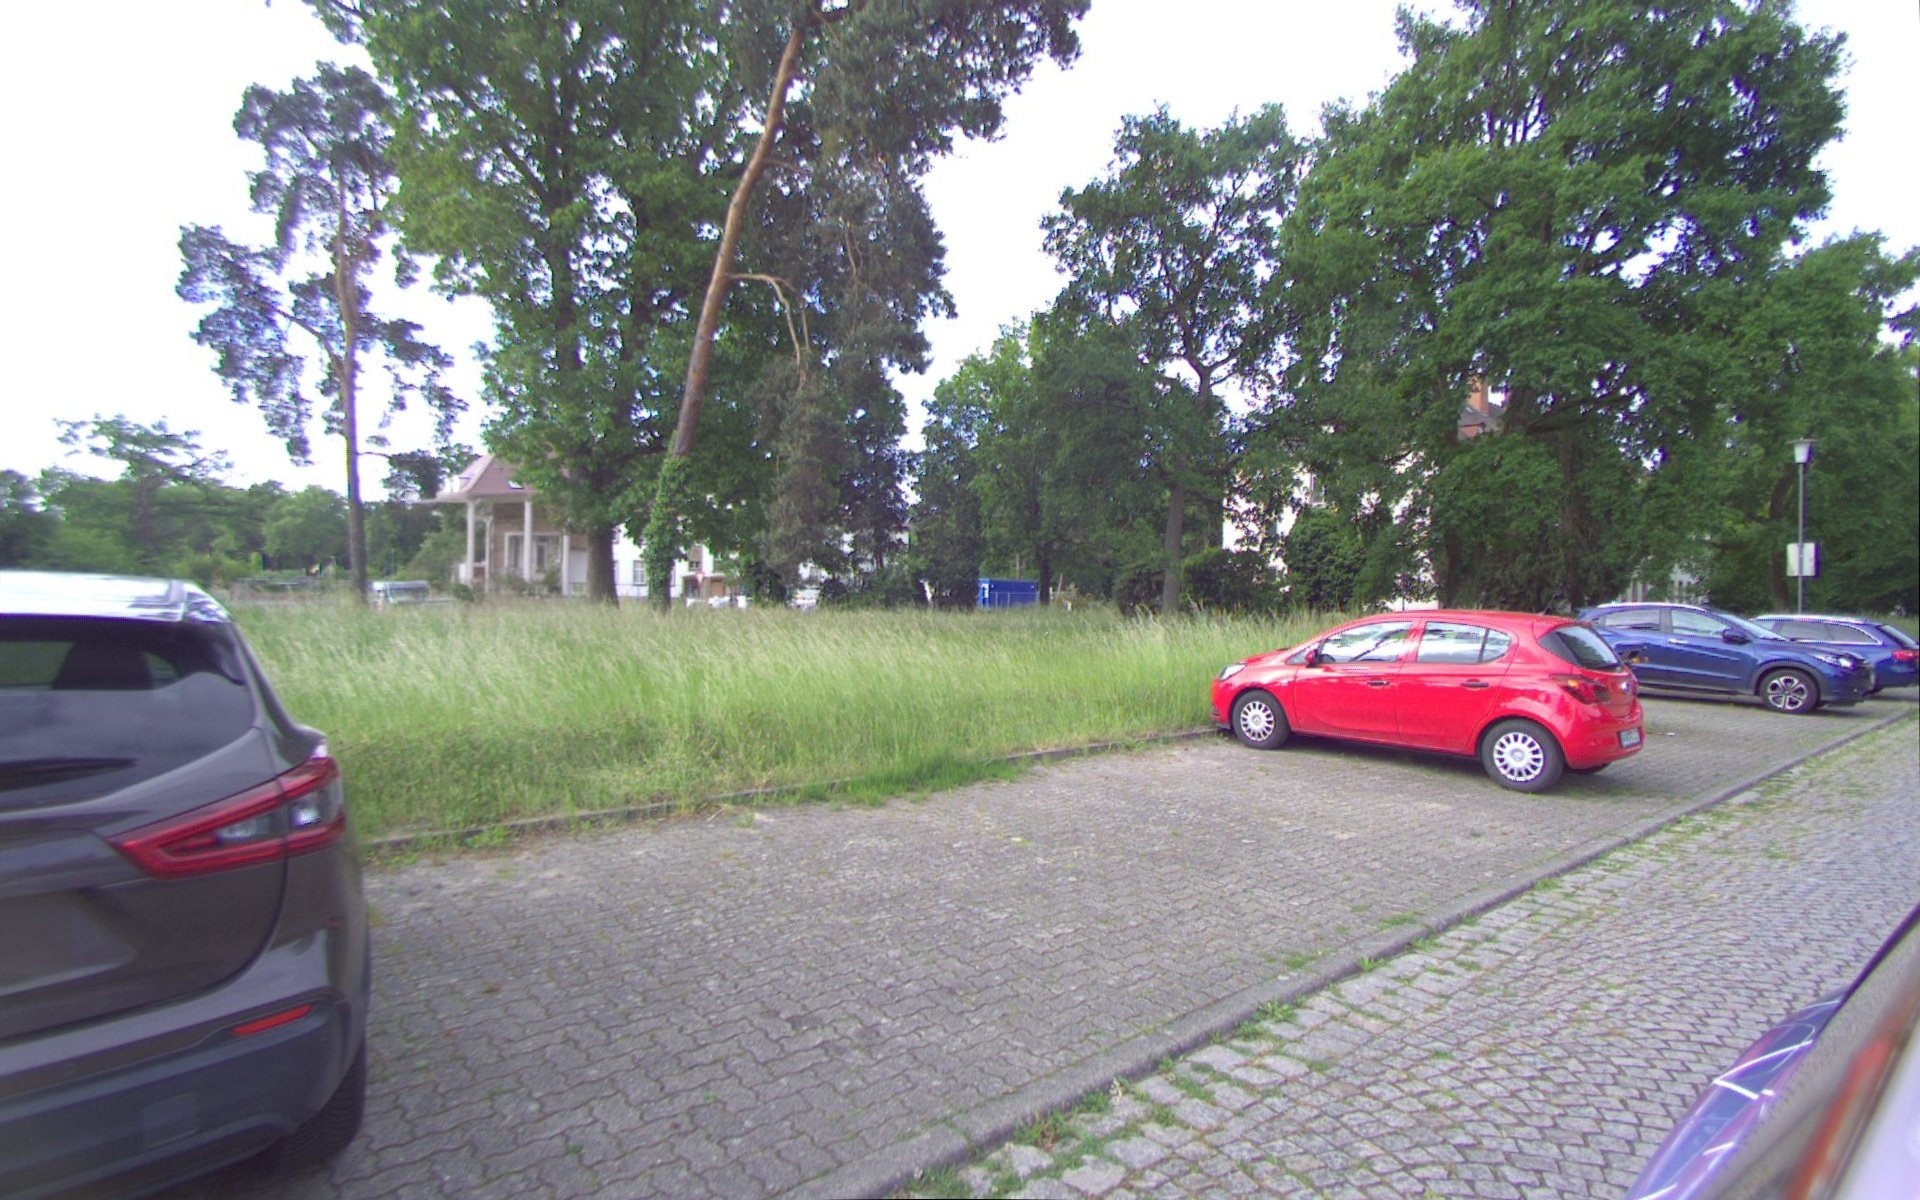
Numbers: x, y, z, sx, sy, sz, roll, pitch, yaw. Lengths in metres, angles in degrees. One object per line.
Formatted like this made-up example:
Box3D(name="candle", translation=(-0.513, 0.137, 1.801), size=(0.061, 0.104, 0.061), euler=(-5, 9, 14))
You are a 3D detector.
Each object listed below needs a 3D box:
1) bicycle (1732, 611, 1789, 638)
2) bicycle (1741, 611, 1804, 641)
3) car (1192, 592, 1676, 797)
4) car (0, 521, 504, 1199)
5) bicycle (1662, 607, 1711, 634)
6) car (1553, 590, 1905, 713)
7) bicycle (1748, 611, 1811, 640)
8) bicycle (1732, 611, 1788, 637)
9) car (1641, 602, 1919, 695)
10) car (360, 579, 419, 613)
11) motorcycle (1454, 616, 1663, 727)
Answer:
Box3D(name="bicycle", translation=(35.618, 1.089, 45.057), size=(1.921, 1.185, 0.483), euler=(-1, -1, 29))
Box3D(name="bicycle", translation=(33.478, 1.073, 41.724), size=(1.917, 1.185, 0.484), euler=(-1, -1, 23))
Box3D(name="car", translation=(4.440, 0.730, 9.934), size=(1.754, 1.515, 3.930), euler=(1, 1, -41))
Box3D(name="car", translation=(-3.182, 0.611, 3.270), size=(1.919, 1.615, 4.210), euler=(1, 1, -42))
Box3D(name="bicycle", translation=(34.492, 0.968, 48.074), size=(1.852, 1.185, 0.481), euler=(3, 1, 41))
Box3D(name="car", translation=(12.263, 0.710, 16.357), size=(1.854, 1.643, 4.252), euler=(1, 1, -41))
Box3D(name="bicycle", translation=(34.053, 1.070, 42.073), size=(1.917, 1.185, 0.484), euler=(-1, -1, 23))
Box3D(name="bicycle", translation=(36.757, 1.095, 46.532), size=(1.926, 1.185, 0.531), euler=(-1, -1, 34))
Box3D(name="car", translation=(15.858, 0.838, 19.314), size=(1.891, 1.457, 4.369), euler=(1, 1, -38))
Box3D(name="car", translation=(-47.391, -0.273, 84.030), size=(5.650, 2.675, 2.246), euler=(-1, -1, 38))
Box3D(name="motorcycle", translation=(7.624, 0.860, 13.007), size=(0.558, 1.217, 2.233), euler=(1, 1, -42))
